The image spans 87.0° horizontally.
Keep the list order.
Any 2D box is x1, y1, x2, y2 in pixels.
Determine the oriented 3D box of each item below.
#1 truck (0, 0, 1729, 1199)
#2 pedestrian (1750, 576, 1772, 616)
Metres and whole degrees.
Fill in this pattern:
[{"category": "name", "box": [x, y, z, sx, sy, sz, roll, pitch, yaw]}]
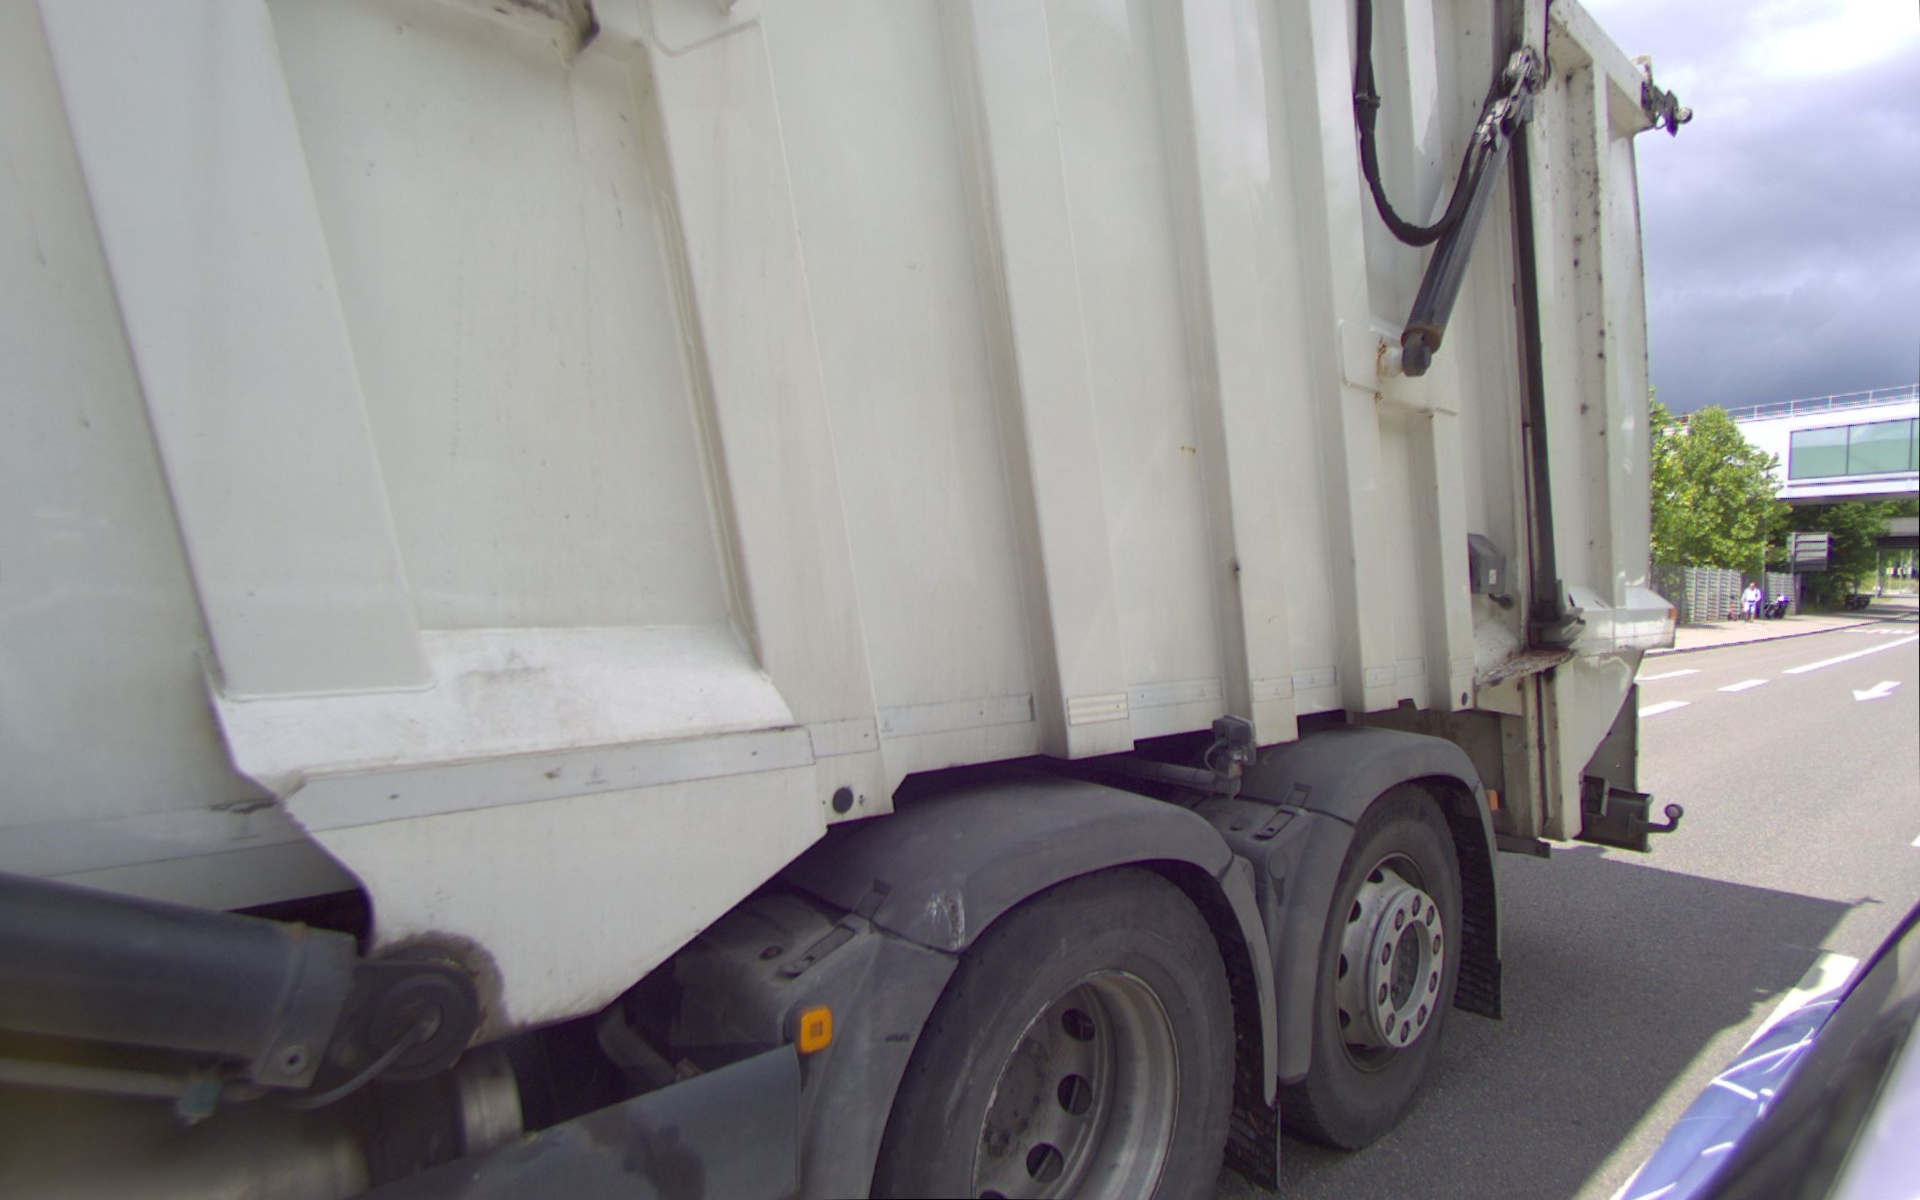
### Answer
[{"category": "truck", "box": [-0.870, -0.737, 2.425, 9.999, 3.962, 2.492, -1, 0, -42]}, {"category": "pedestrian", "box": [38.631, -0.200, 48.803, 0.647, 1.936, 0.738, 0, 0, -43]}]
